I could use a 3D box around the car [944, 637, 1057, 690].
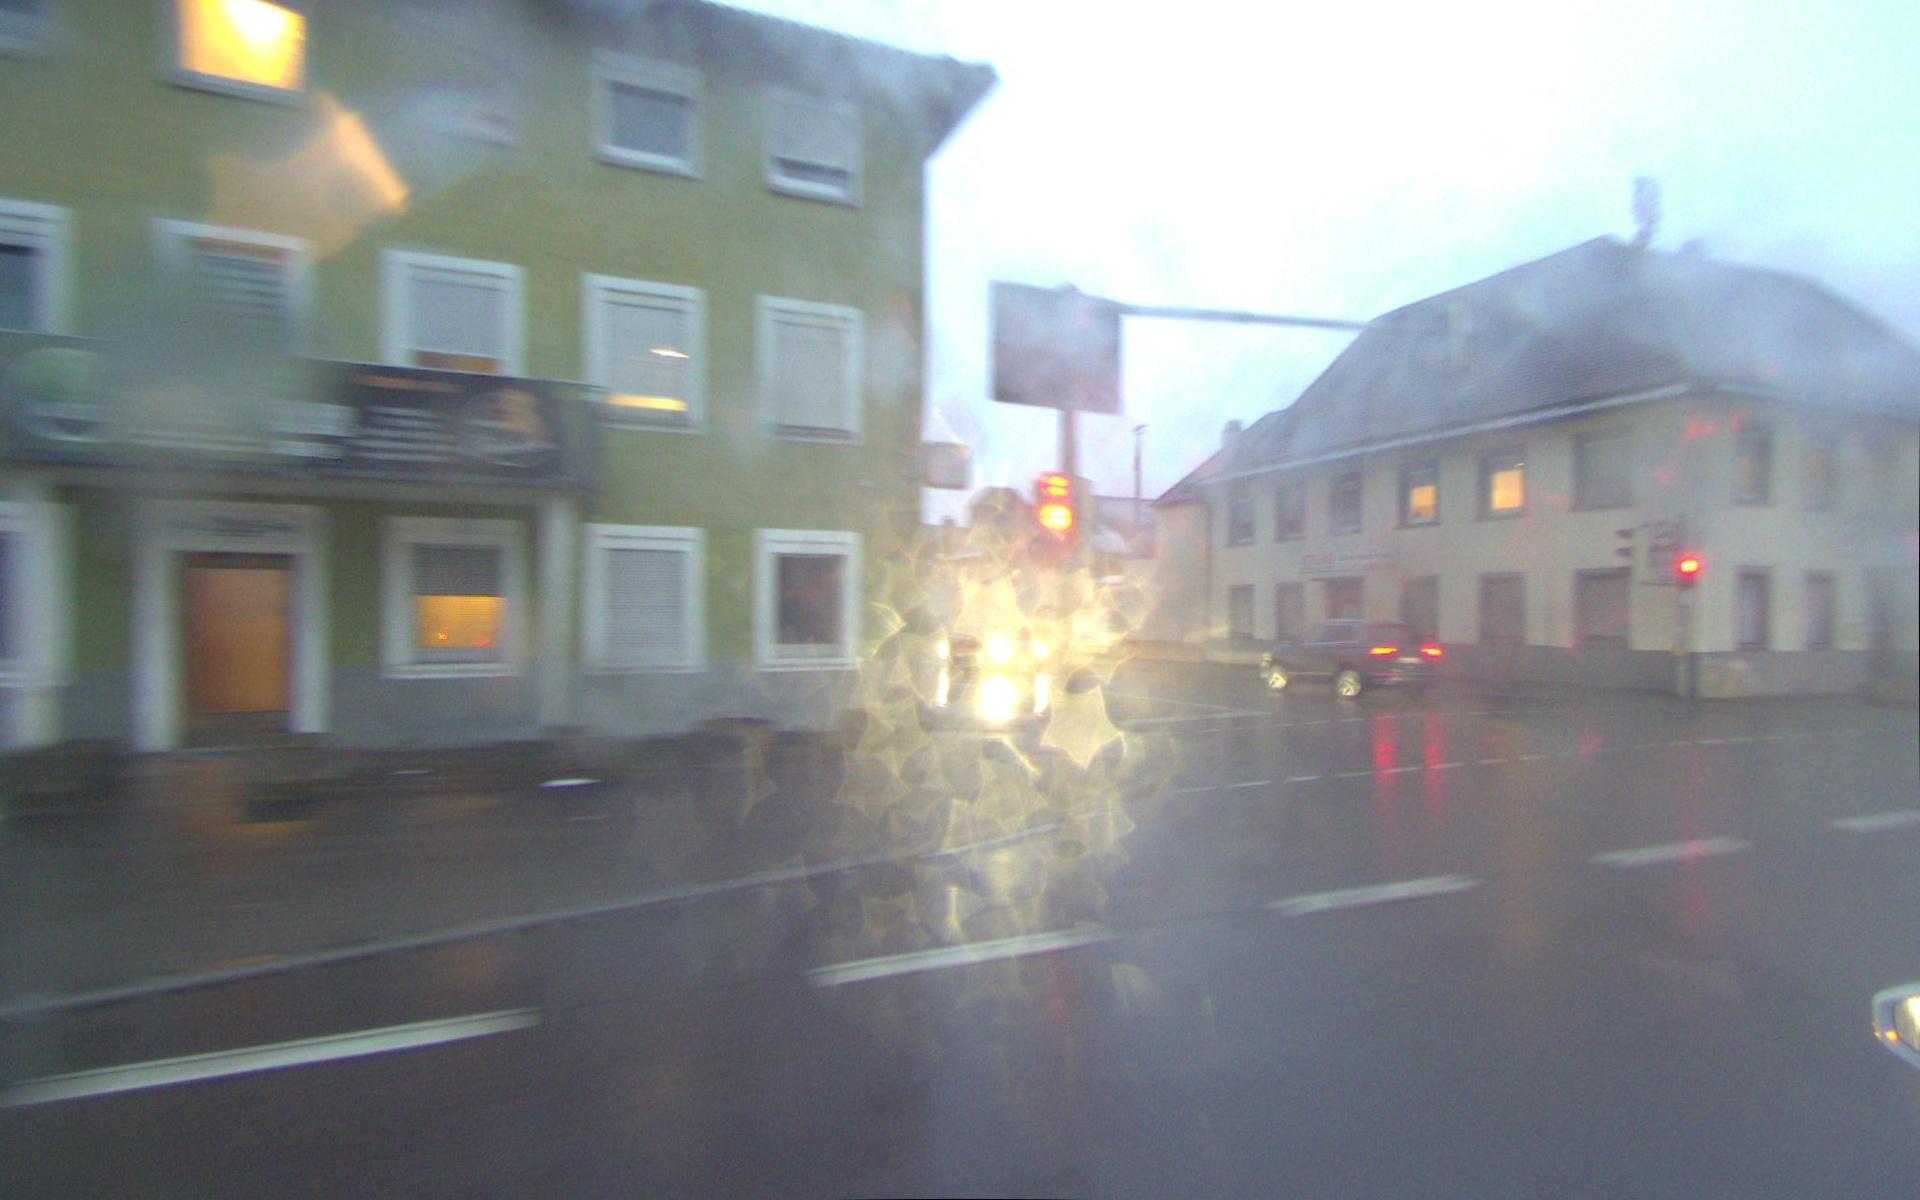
[{"bbox_3d":[1.208,1.950,31.990,1.859,1.412,4.498,0,0,-23],"label":"car"}]

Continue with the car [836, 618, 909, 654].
[{"bbox_3d":[-3.829,1.511,43.335,1.806,1.391,4.259,0,0,-25],"label":"car"}]

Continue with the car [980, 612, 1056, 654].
[{"bbox_3d":[2.247,1.265,39.577,1.530,1.528,3.202,0,1,-29],"label":"car"}]

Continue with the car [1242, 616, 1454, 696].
[{"bbox_3d":[8.413,1.166,22.344,2.020,1.593,4.688,1,-1,-16],"label":"car"}]
